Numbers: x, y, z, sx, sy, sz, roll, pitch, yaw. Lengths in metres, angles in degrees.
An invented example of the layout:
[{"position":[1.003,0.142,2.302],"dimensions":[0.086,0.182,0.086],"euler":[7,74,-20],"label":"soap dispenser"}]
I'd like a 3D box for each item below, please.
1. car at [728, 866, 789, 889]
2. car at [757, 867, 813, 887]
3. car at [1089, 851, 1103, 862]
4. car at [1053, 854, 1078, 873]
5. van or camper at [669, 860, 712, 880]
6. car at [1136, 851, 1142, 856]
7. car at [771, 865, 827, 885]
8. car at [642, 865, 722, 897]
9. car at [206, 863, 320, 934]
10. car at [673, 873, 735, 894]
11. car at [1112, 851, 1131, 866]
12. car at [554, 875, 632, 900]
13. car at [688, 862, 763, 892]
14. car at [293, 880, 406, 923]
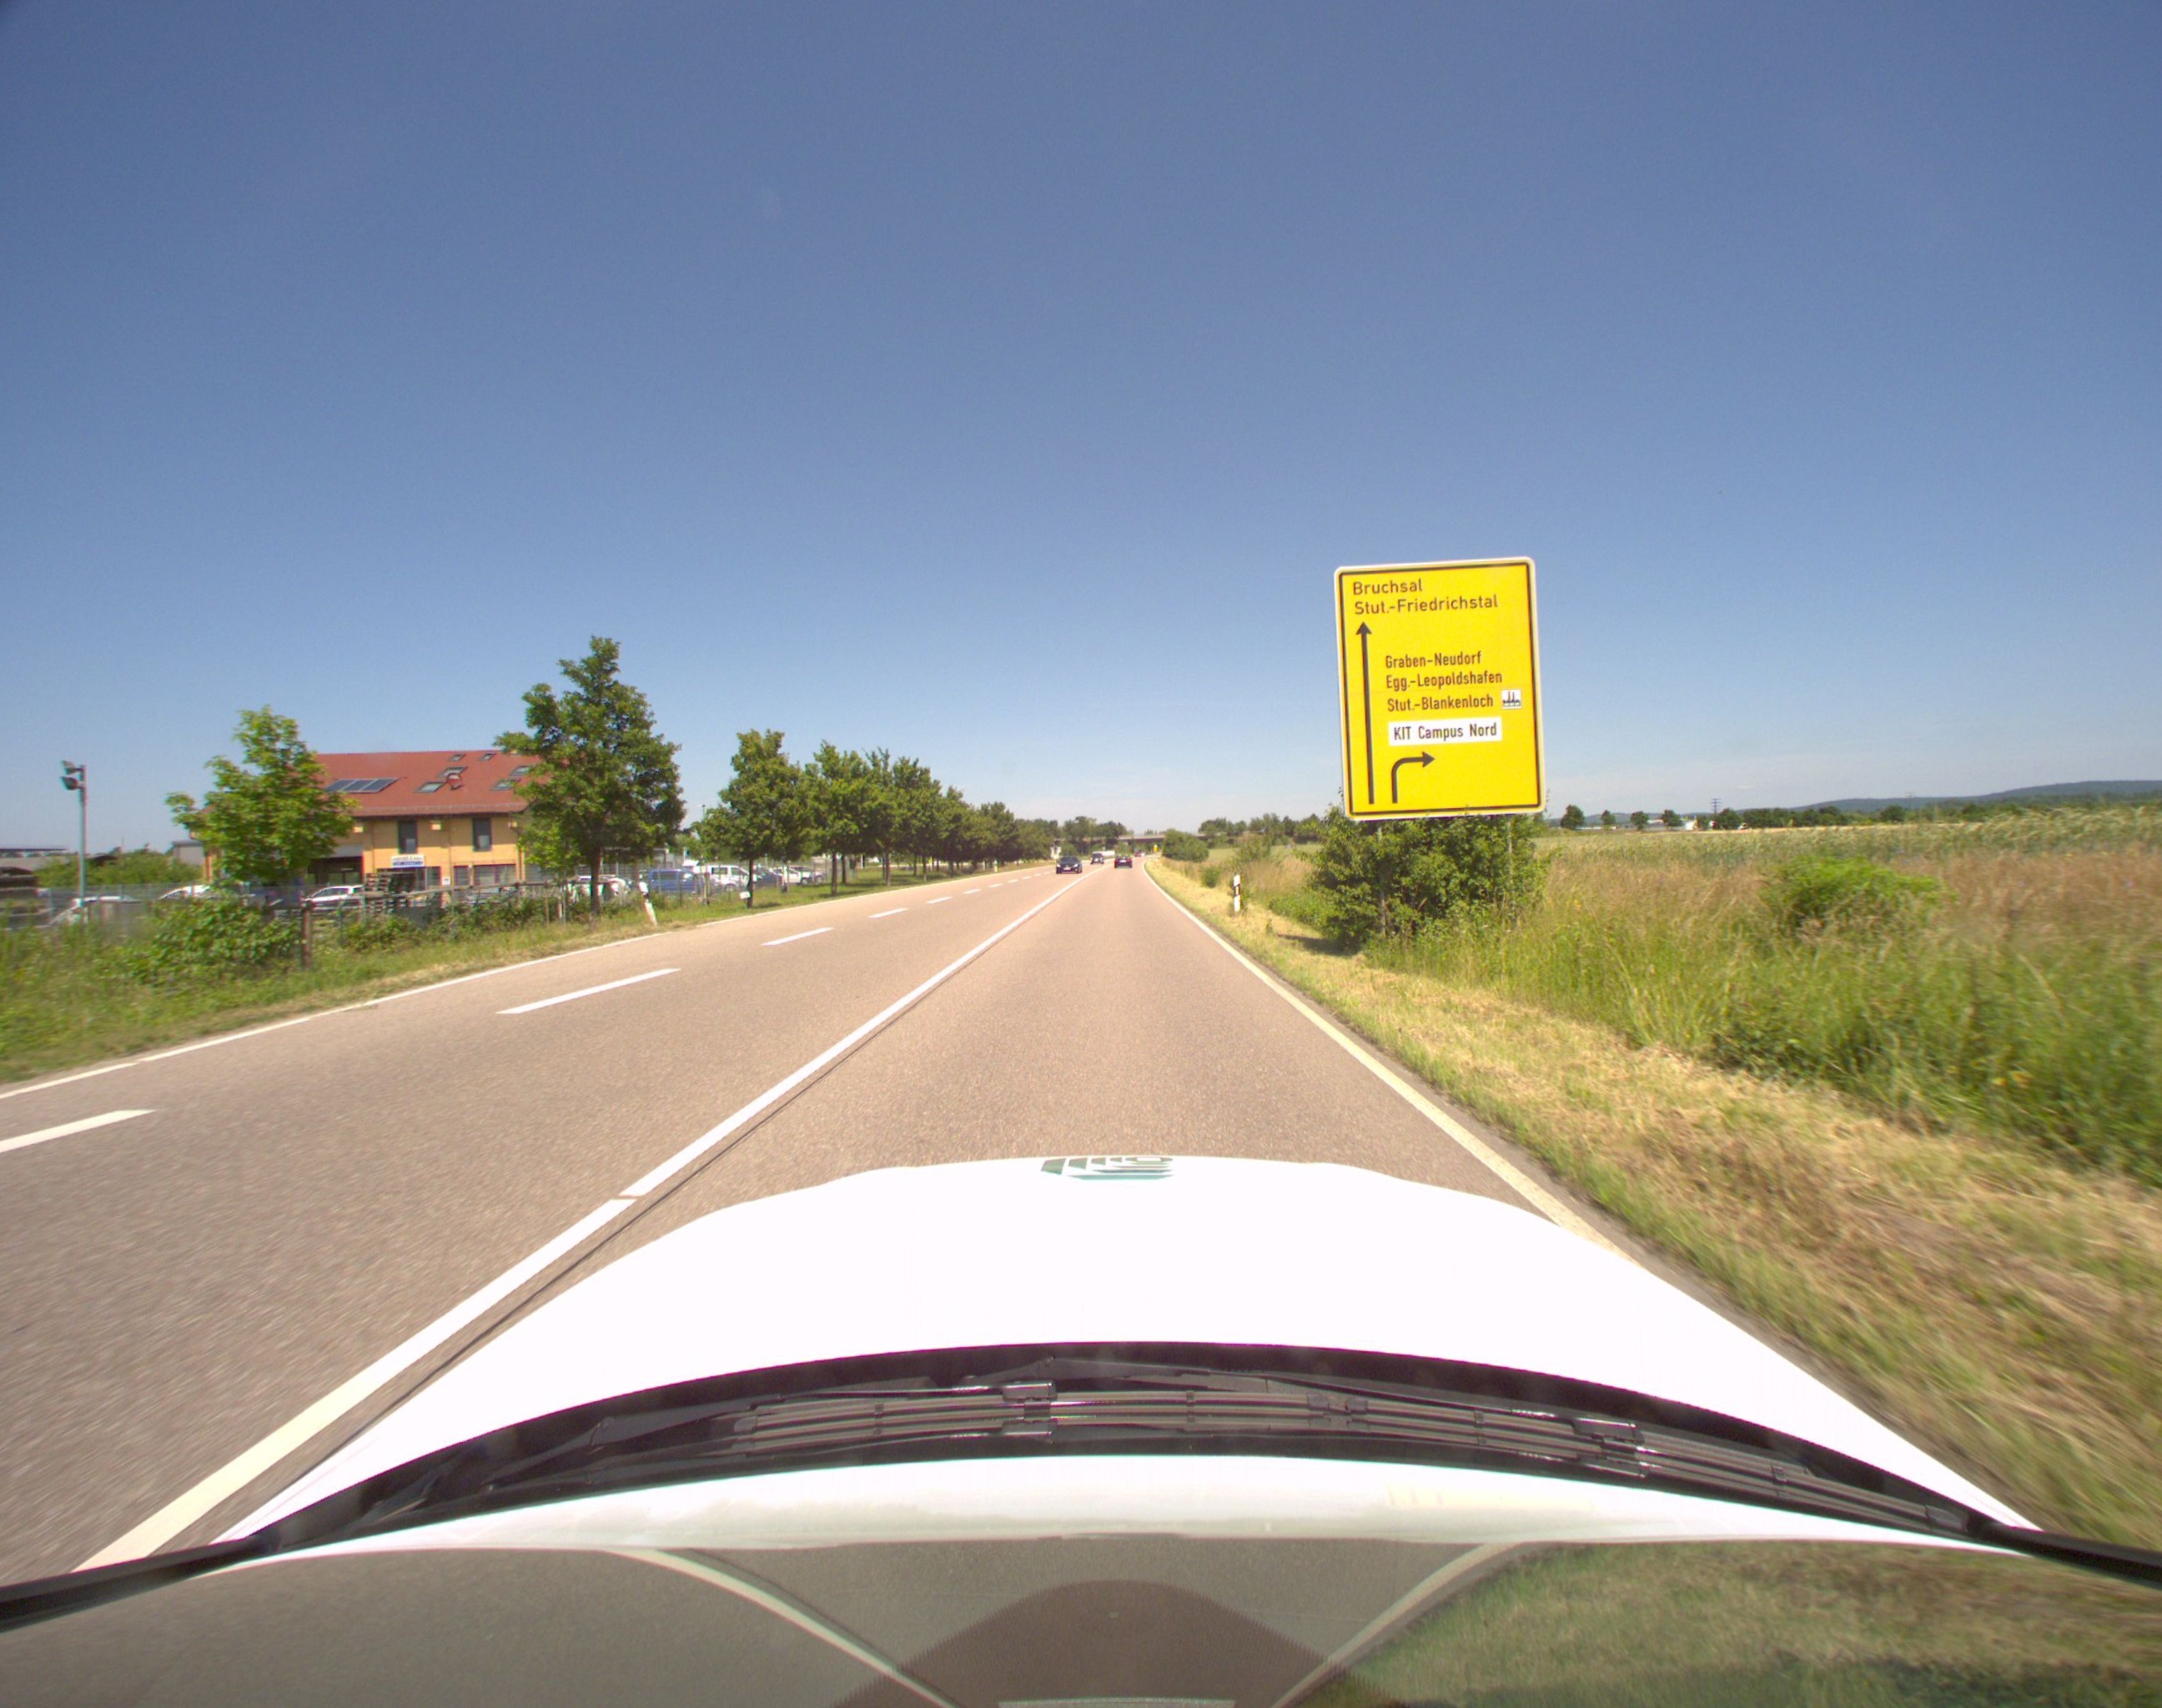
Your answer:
[{"position":[-24.815,1.783,62.646],"dimensions":[4.015,1.596,1.979],"euler":[-1,0,-33],"label":"car"},{"position":[-24.451,1.855,67.252],"dimensions":[4.011,1.479,1.654],"euler":[-1,0,-36],"label":"car"},{"position":[2.009,0.302,108.570],"dimensions":[1.673,1.499,3.889],"euler":[-1,0,3],"label":"car"},{"position":[-1.069,0.681,58.767],"dimensions":[1.630,1.268,3.813],"euler":[-1,0,1],"label":"car"},{"position":[-49.722,1.996,103.872],"dimensions":[2.455,2.363,6.535],"euler":[-2,0,-1],"label":"van or camper"},{"position":[16.862,-0.071,238.463],"dimensions":[1.734,1.411,4.629],"euler":[-1,0,3],"label":"car"},{"position":[-24.825,1.817,71.709],"dimensions":[4.362,1.543,1.572],"euler":[-1,0,-37],"label":"car"},{"position":[-24.989,1.650,51.232],"dimensions":[4.307,1.801,2.010],"euler":[-1,0,-21],"label":"car"},{"position":[-35.139,1.923,34.942],"dimensions":[5.670,2.722,2.380],"euler":[-3,0,34],"label":"car"},{"position":[-25.084,1.935,54.313],"dimensions":[3.684,1.265,1.802],"euler":[-1,0,-24],"label":"car"},{"position":[4.027,0.460,80.831],"dimensions":[1.807,1.441,4.002],"euler":[-1,0,2],"label":"car"},{"position":[-29.713,2.031,49.640],"dimensions":[3.675,1.409,1.641],"euler":[-1,0,-1],"label":"car"},{"position":[-25.433,1.621,58.296],"dimensions":[4.679,1.954,1.809],"euler":[-1,0,-30],"label":"car"},{"position":[-35.853,2.309,39.936],"dimensions":[4.582,1.807,2.066],"euler":[-3,0,18],"label":"car"}]
